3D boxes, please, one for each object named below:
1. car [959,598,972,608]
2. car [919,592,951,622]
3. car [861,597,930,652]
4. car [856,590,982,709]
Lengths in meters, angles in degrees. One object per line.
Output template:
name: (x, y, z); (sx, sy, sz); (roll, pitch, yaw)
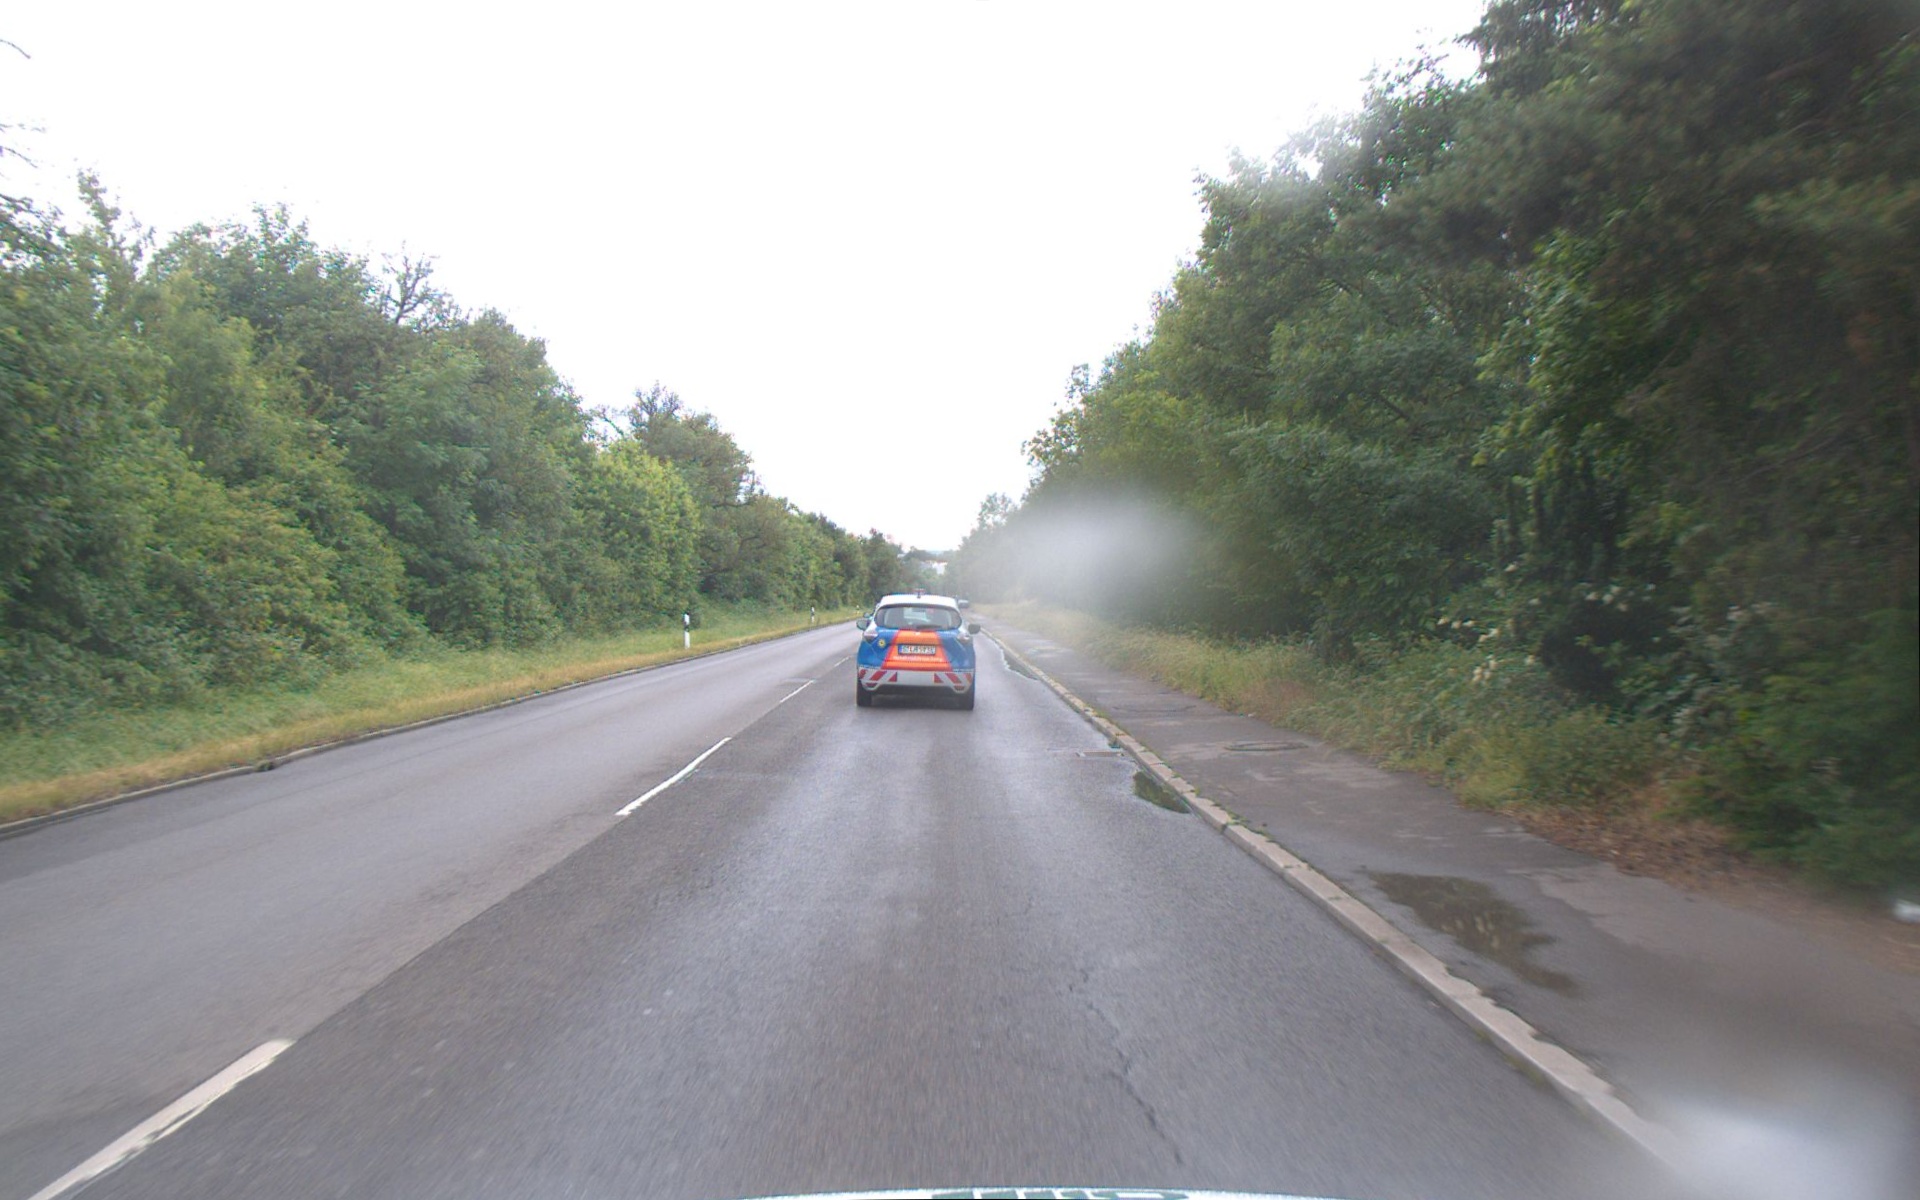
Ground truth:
car: (0.780, 0.421, 247.984); (1.953, 1.400, 4.000); (-1, 0, 0)
car: (-1.542, 0.407, 103.818); (1.902, 1.753, 4.063); (-1, 0, 0)
car: (-1.595, 0.607, 41.816); (1.566, 1.309, 3.476); (-1, 0, 0)
car: (-0.590, 0.665, 24.581); (1.716, 1.583, 3.792); (1, 1, -1)
